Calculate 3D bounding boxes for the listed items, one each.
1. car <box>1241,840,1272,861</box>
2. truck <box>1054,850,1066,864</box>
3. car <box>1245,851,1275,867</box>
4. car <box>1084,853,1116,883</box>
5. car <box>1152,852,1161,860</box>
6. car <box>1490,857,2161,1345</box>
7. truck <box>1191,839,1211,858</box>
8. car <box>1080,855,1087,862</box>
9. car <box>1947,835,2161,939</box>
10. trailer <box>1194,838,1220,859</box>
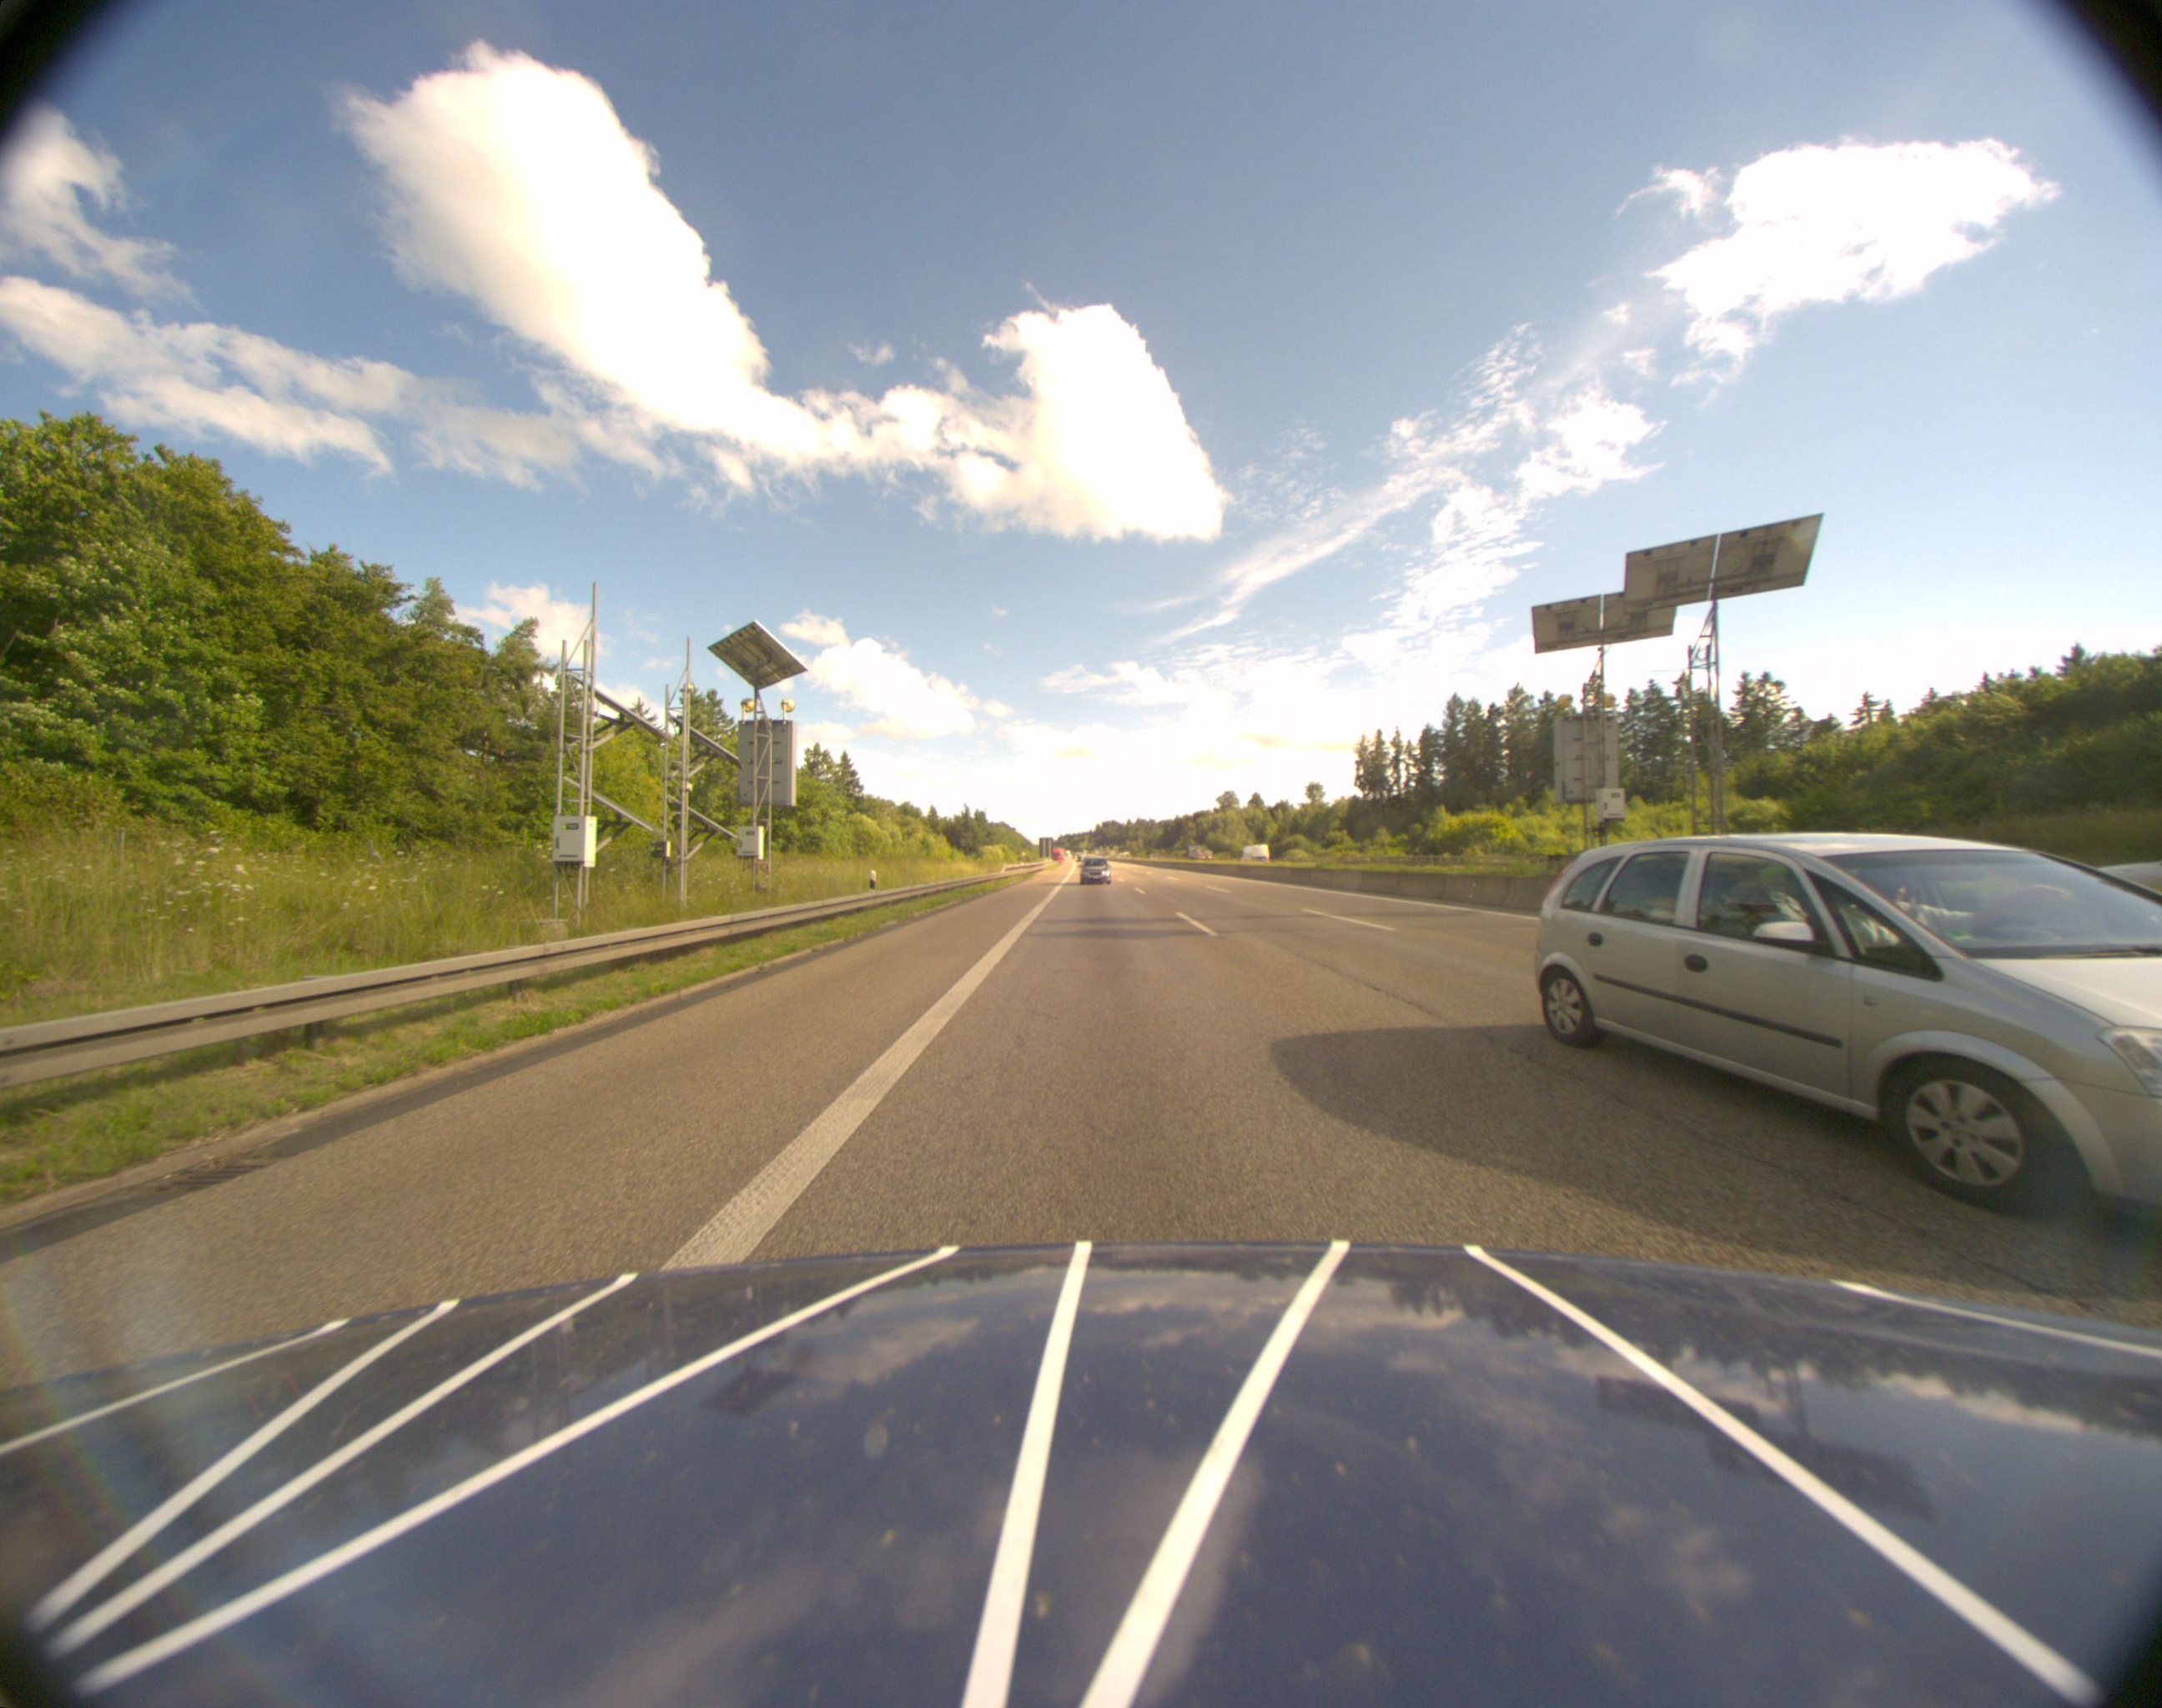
[{"bbox_3d":[20.450,-0.432,88.775,2.114,2.299,6.724,-1,0,1],"label":"car"},{"bbox_3d":[-5.889,0.770,213.540,2.880,3.871,8.958,-2,0,0],"label":"truck"},{"bbox_3d":[16.909,0.472,71.879,1.998,1.444,4.000,-1,0,1],"label":"car"},{"bbox_3d":[1.117,0.783,44.276,1.742,1.608,4.083,-1,0,1],"label":"car"},{"bbox_3d":[20.261,0.577,203.280,1.998,2.002,4.859,-1,0,1],"label":"car"},{"bbox_3d":[4.412,0.802,4.354,1.840,1.508,4.333,-1,0,1],"label":"car"},{"bbox_3d":[24.554,-1.127,155.691,3.122,3.815,7.123,-1,0,1],"label":"truck"},{"bbox_3d":[0.792,1.319,230.640,1.998,2.124,4.000,-1,0,1],"label":"car"},{"bbox_3d":[23.653,0.665,16.648,2.585,2.126,5.966,-1,0,1],"label":"car"},{"bbox_3d":[24.483,-1.100,148.500,3.132,3.815,12.209,-1,0,1],"label":"trailer"}]
